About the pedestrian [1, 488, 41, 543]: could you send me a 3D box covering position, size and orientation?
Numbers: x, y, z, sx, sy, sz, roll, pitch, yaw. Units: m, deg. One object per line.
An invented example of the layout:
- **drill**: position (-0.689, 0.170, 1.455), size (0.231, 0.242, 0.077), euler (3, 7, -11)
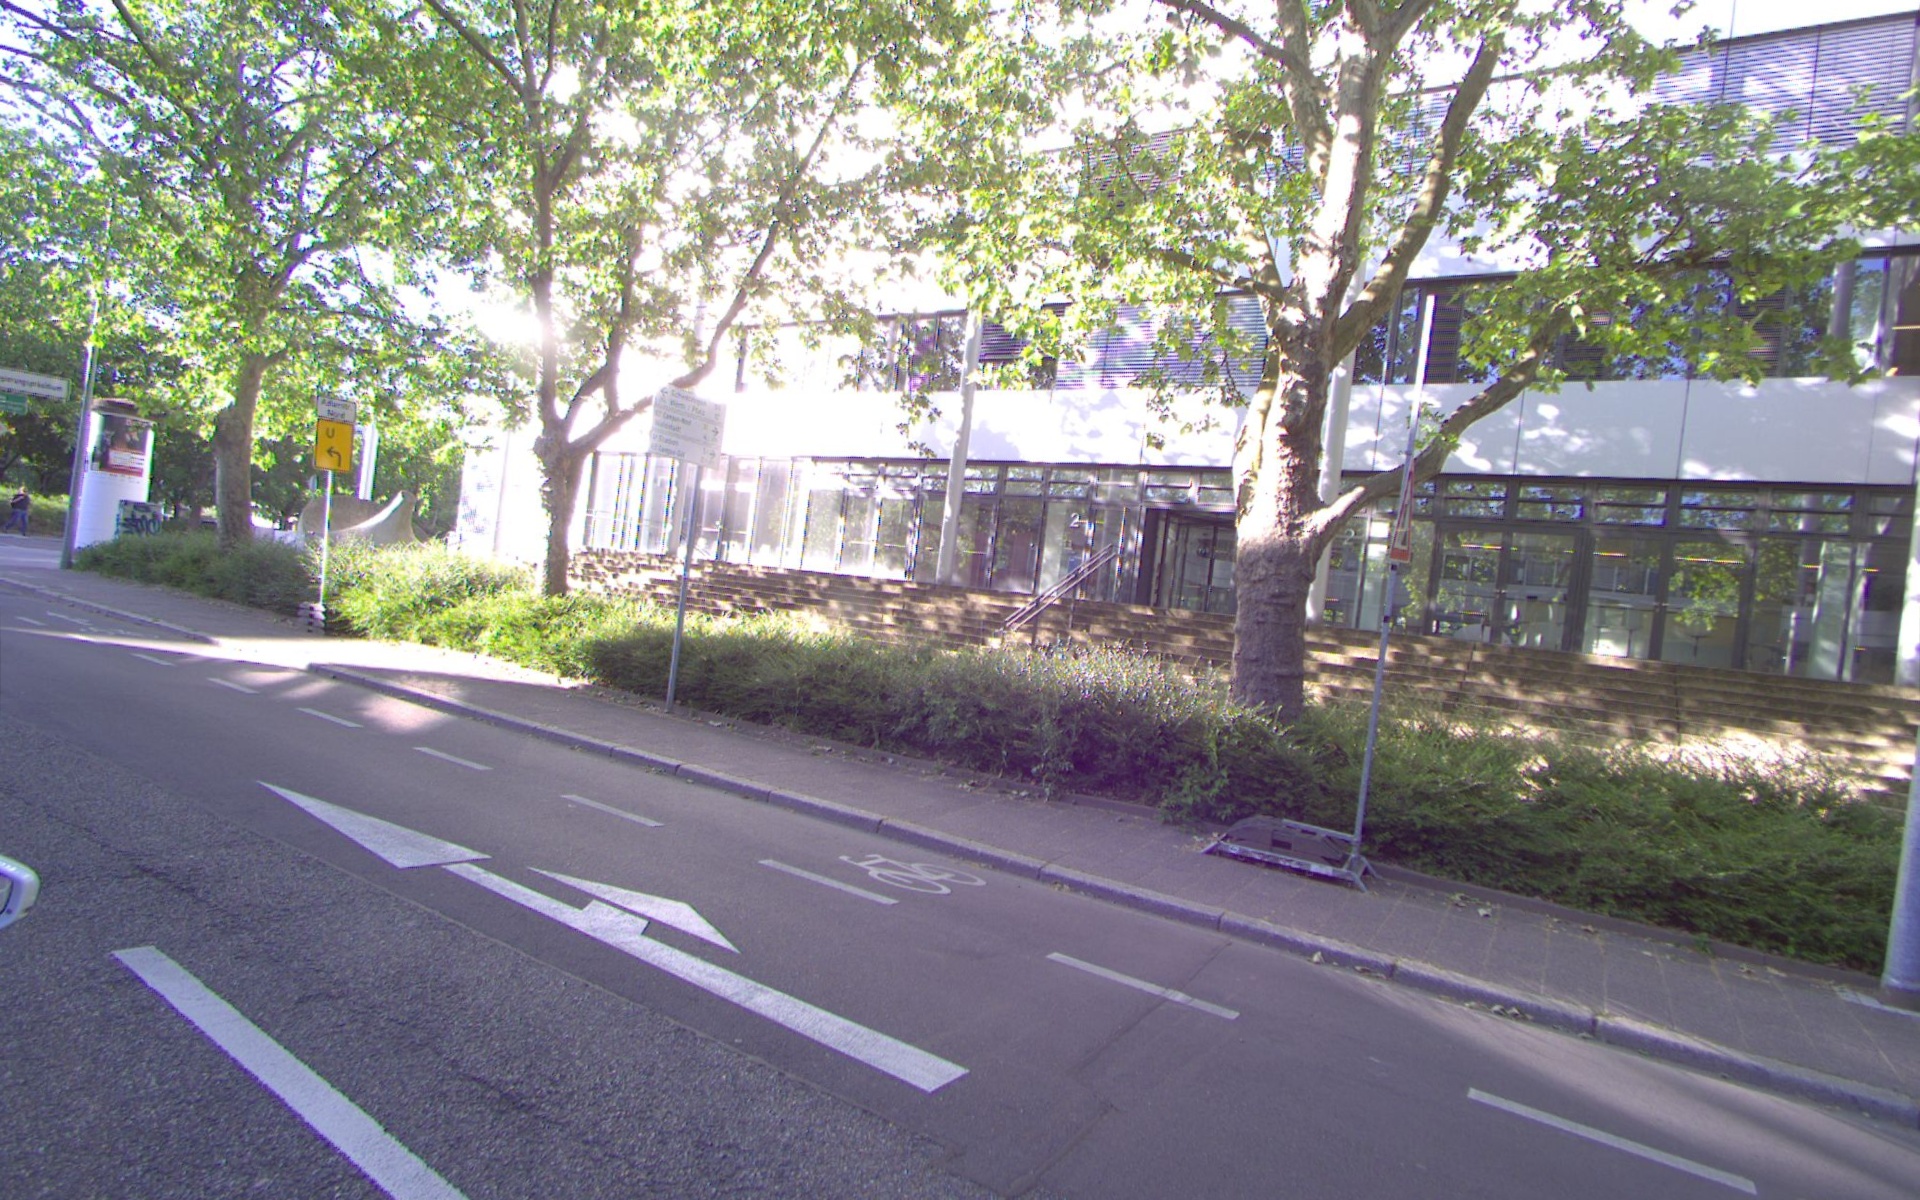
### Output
- **pedestrian**: position (-35.901, -3.211, 38.470), size (0.742, 1.932, 0.921), euler (6, -1, 44)
